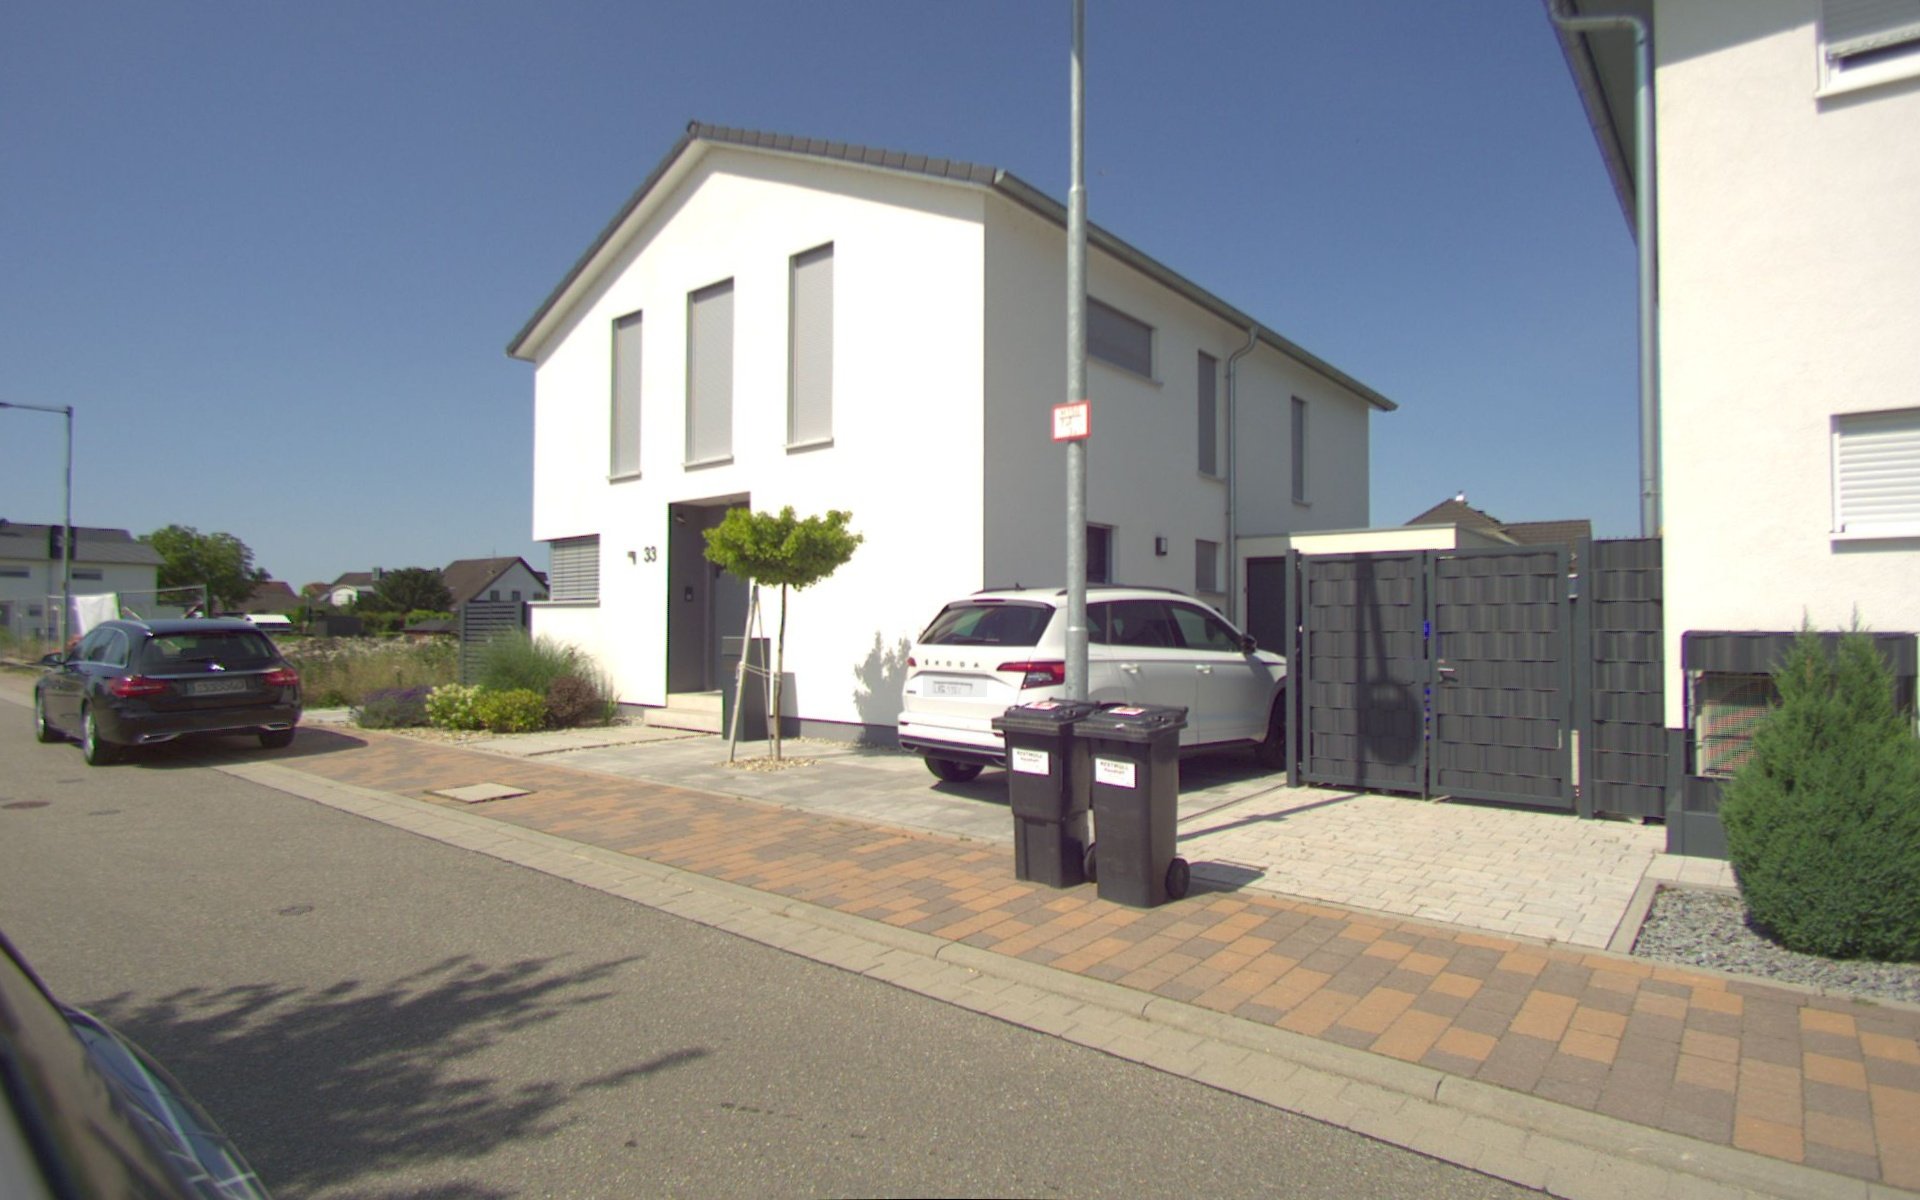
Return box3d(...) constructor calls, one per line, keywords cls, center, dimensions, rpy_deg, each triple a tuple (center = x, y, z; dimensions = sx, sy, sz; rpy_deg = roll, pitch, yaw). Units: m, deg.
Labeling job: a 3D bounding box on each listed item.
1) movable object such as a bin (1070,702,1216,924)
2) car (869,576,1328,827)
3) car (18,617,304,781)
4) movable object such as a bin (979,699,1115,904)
box3d(cls="movable object such as a bin", center=(0.883, 0.985, 4.873), dimensions=(0.529, 0.932, 0.481), rpy_deg=(-1, -2, 37))
box3d(cls="car", center=(1.326, 0.681, 8.575), dimensions=(3.908, 1.631, 1.796), rpy_deg=(0, -1, -43))
box3d(cls="car", center=(-9.119, 0.968, 11.410), dimensions=(4.441, 1.484, 1.673), rpy_deg=(-1, -1, 40))
box3d(cls="movable object such as a bin", center=(0.449, 1.001, 5.212), dimensions=(0.529, 0.932, 0.481), rpy_deg=(-1, -2, 37))
